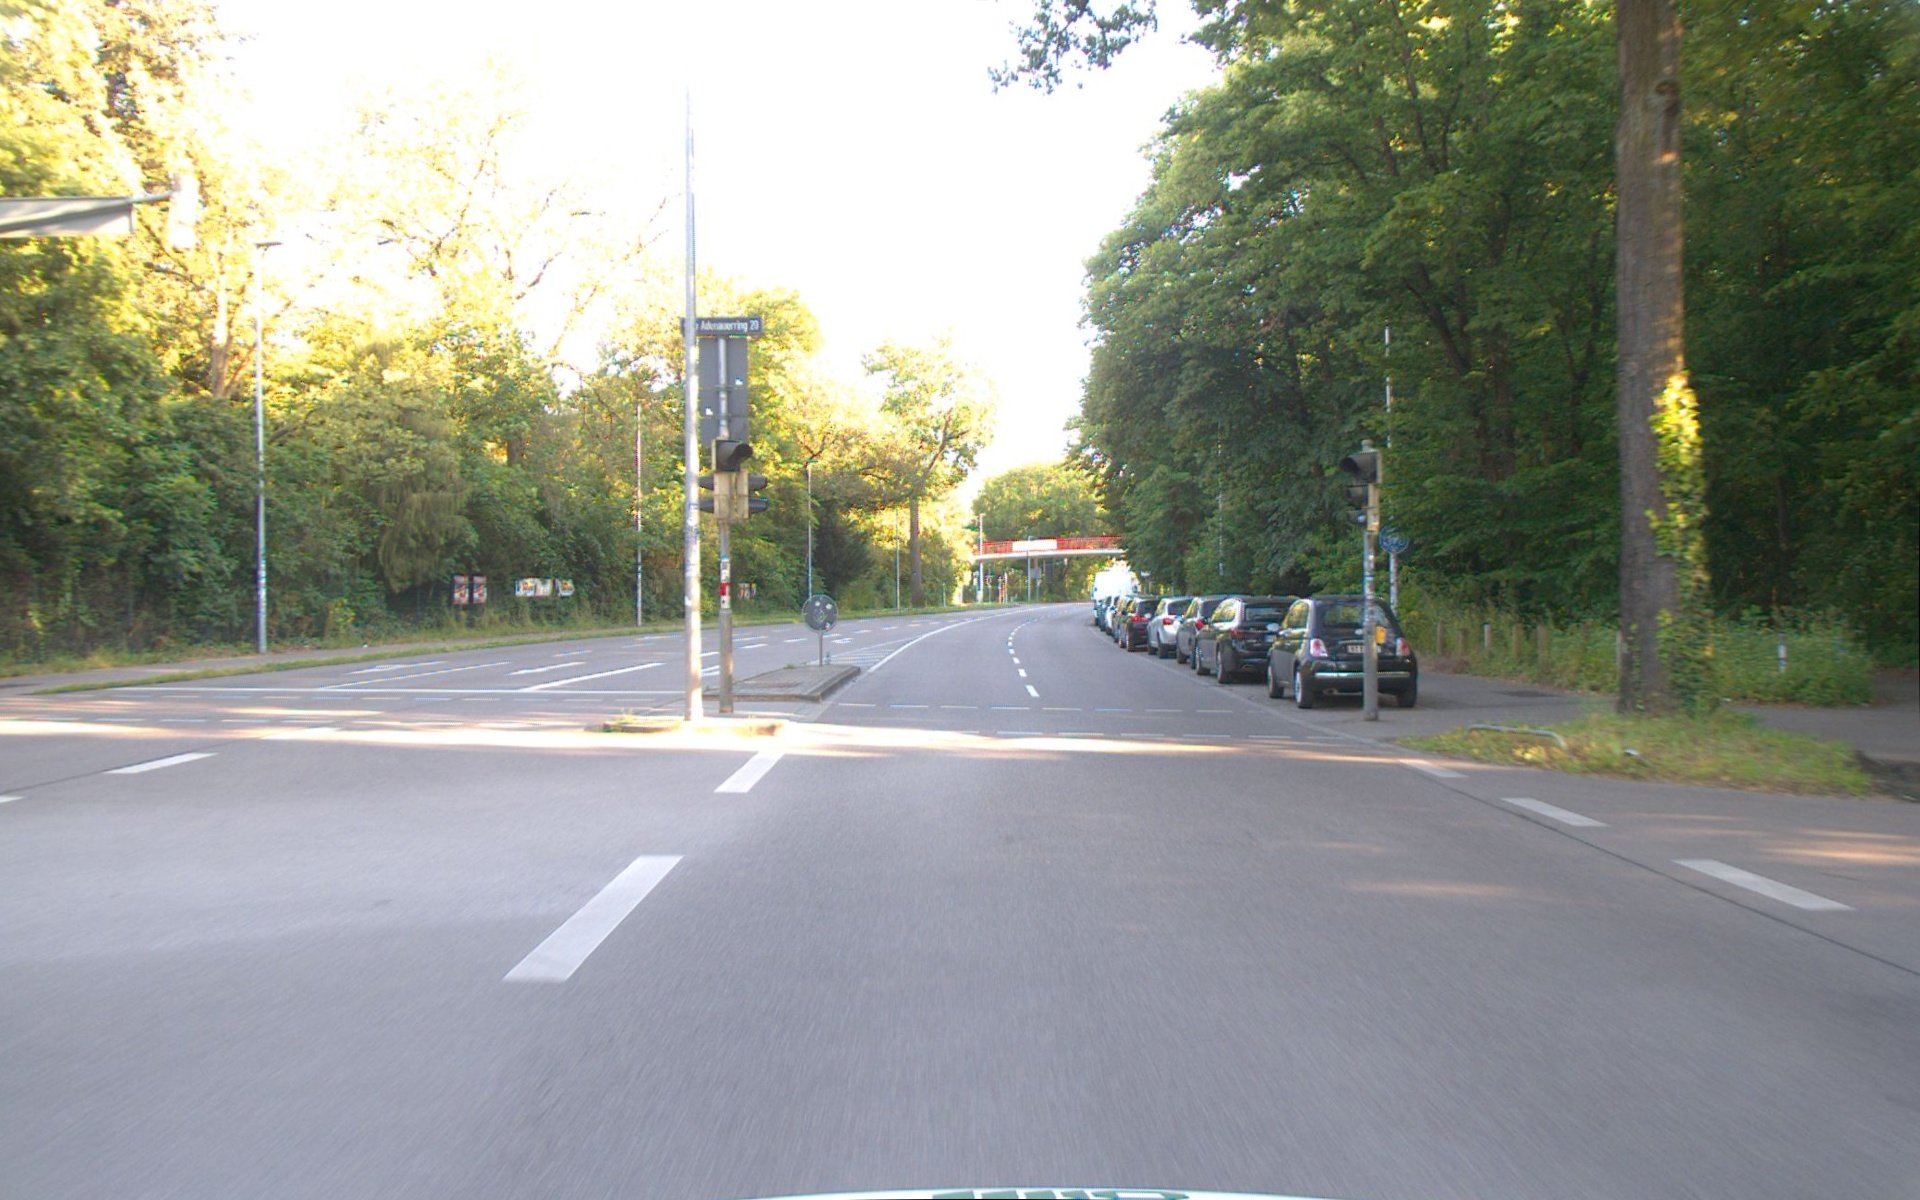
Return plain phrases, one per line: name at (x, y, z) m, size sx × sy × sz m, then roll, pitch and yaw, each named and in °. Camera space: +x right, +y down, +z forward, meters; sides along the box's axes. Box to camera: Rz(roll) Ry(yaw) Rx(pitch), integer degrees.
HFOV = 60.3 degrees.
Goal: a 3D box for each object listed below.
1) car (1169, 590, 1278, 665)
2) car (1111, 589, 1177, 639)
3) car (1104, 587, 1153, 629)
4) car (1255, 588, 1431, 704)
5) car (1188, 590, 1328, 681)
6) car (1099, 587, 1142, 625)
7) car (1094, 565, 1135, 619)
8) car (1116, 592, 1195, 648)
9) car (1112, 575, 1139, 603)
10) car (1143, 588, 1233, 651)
car at (5.618, 0.561, 35.701) m, size 1.682 × 1.494 × 4.202 m, roll -1°, pitch 0°, yaw 1°
car at (5.648, 0.410, 51.238) m, size 1.682 × 1.436 × 4.489 m, roll -1°, pitch 0°, yaw 2°
car at (6.286, 0.301, 62.070) m, size 1.642 × 1.489 × 3.690 m, roll -1°, pitch 0°, yaw 3°
car at (5.390, 0.599, 23.701) m, size 1.682 × 1.494 × 3.757 m, roll -1°, pitch 0°, yaw 1°
car at (5.324, 0.586, 30.130) m, size 1.682 × 1.494 × 4.988 m, roll -1°, pitch 0°, yaw 1°
car at (6.567, 0.231, 67.872) m, size 1.642 × 1.489 × 4.068 m, roll -1°, pitch 0°, yaw 4°
car at (7.435, -0.361, 79.663) m, size 1.864 × 2.466 × 5.579 m, roll -1°, pitch 0°, yaw 5°
car at (5.372, 0.524, 45.852) m, size 1.682 × 1.436 × 4.488 m, roll -1°, pitch 0°, yaw 1°
car at (12.779, -0.844, 127.317) m, size 1.829 × 2.016 × 5.479 m, roll -1°, pitch 0°, yaw 8°
car at (5.585, 0.453, 40.905) m, size 1.682 × 1.436 × 4.124 m, roll -1°, pitch 0°, yaw 1°
